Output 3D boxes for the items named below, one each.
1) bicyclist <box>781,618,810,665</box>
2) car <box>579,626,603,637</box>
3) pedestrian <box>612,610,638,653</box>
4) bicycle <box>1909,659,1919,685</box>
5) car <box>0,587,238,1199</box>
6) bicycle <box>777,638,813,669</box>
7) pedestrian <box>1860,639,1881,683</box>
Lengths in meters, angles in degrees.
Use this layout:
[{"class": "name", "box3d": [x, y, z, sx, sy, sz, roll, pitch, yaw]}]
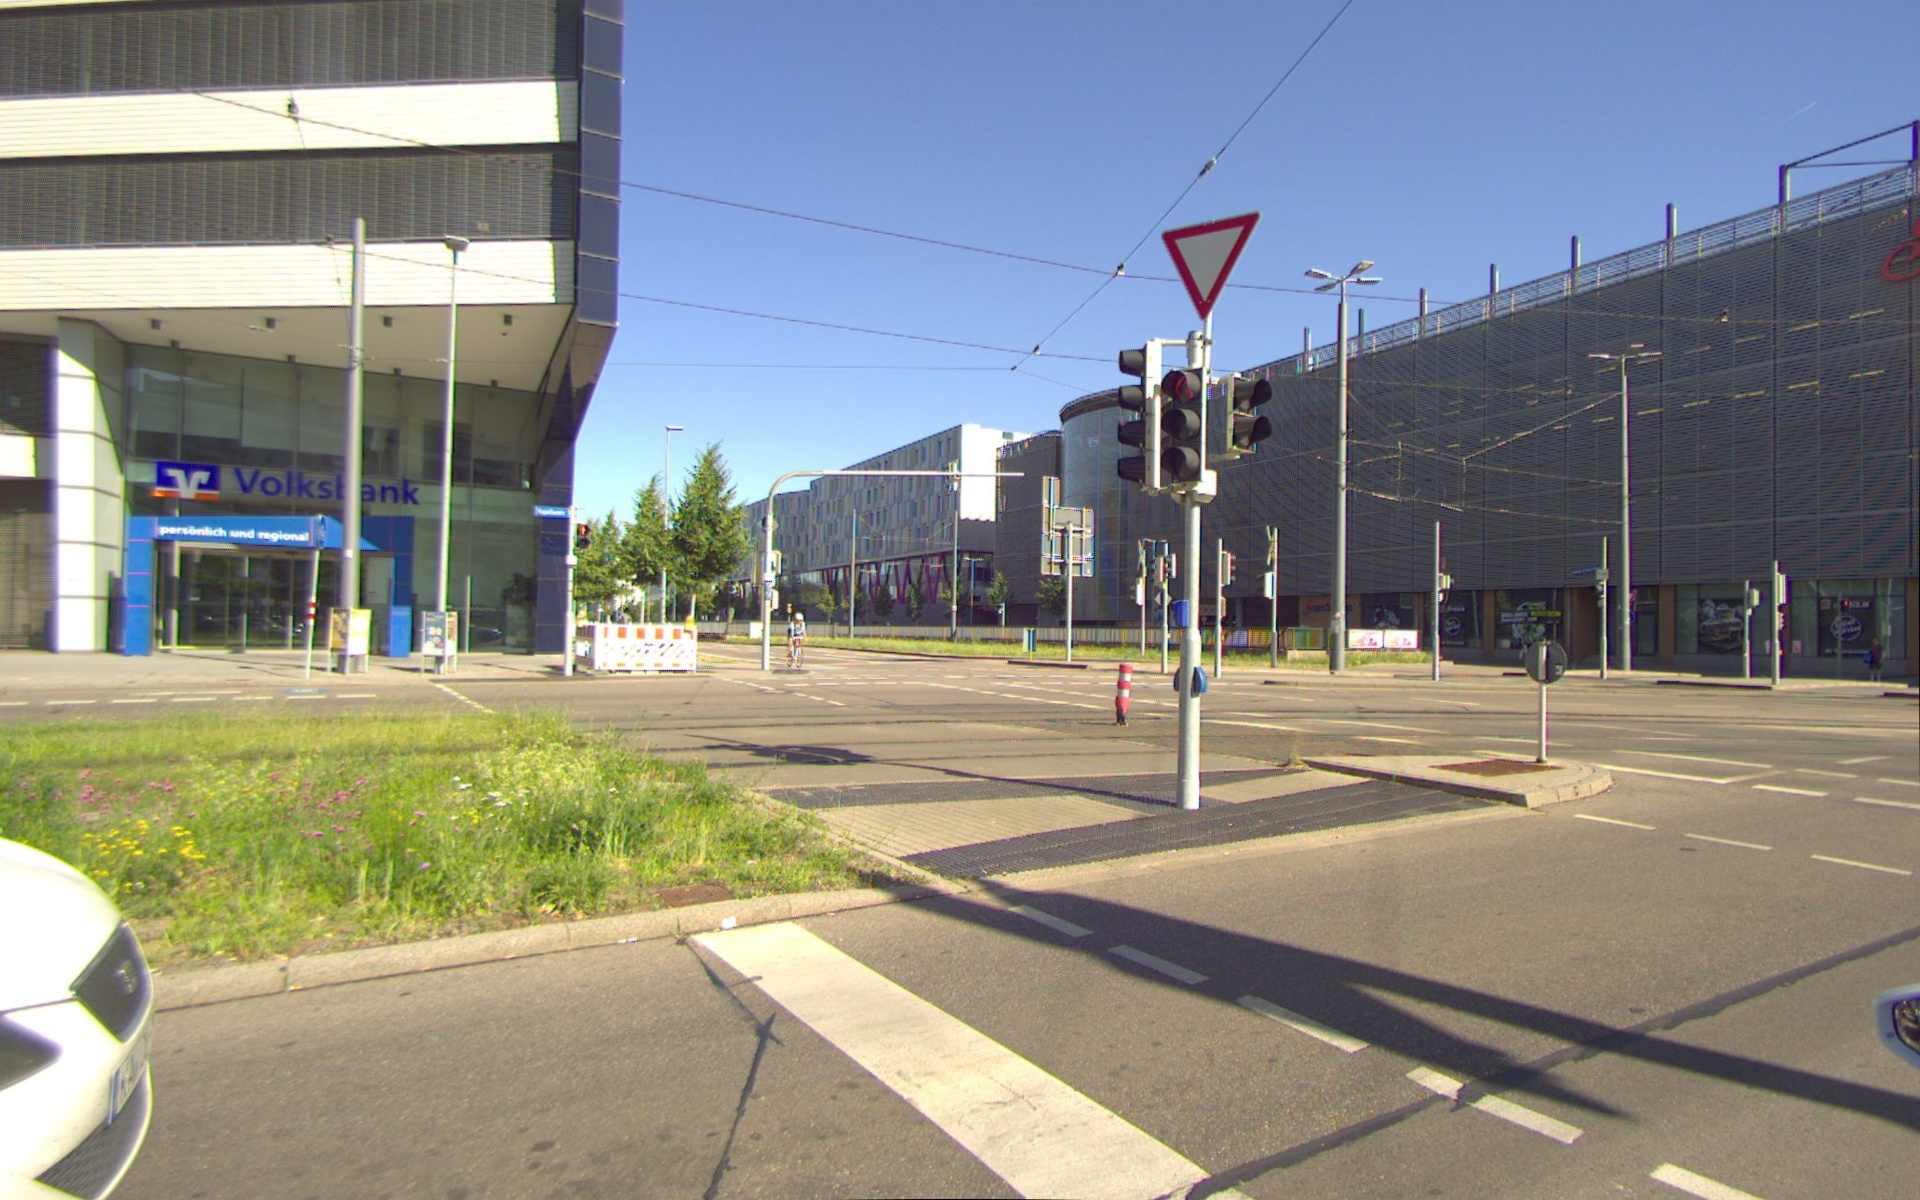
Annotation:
[{"class": "bicyclist", "box3d": [-5.066, 1.269, 30.830, 0.750, 1.428, 0.769, 1, -1, -18]}, {"class": "car", "box3d": [-42.071, 3.571, 114.432, 1.975, 1.104, 3.971, 2, -2, -28]}, {"class": "pedestrian", "box3d": [-12.638, 1.184, 37.838, 0.845, 1.576, 0.610, 2, -1, -24]}, {"class": "bicycle", "box3d": [38.303, 2.825, 39.017, 1.984, 0.998, 0.559, 0, -2, 28]}, {"class": "car", "box3d": [-3.394, 0.676, 1.306, 3.791, 1.450, 1.656, 2, 1, -31]}, {"class": "bicycle", "box3d": [-5.092, 1.632, 30.883, 0.758, 0.851, 2.559, 2, -2, -17]}, {"class": "pedestrian", "box3d": [37.321, 2.492, 41.181, 0.616, 1.774, 0.586, 0, -2, 42]}]
